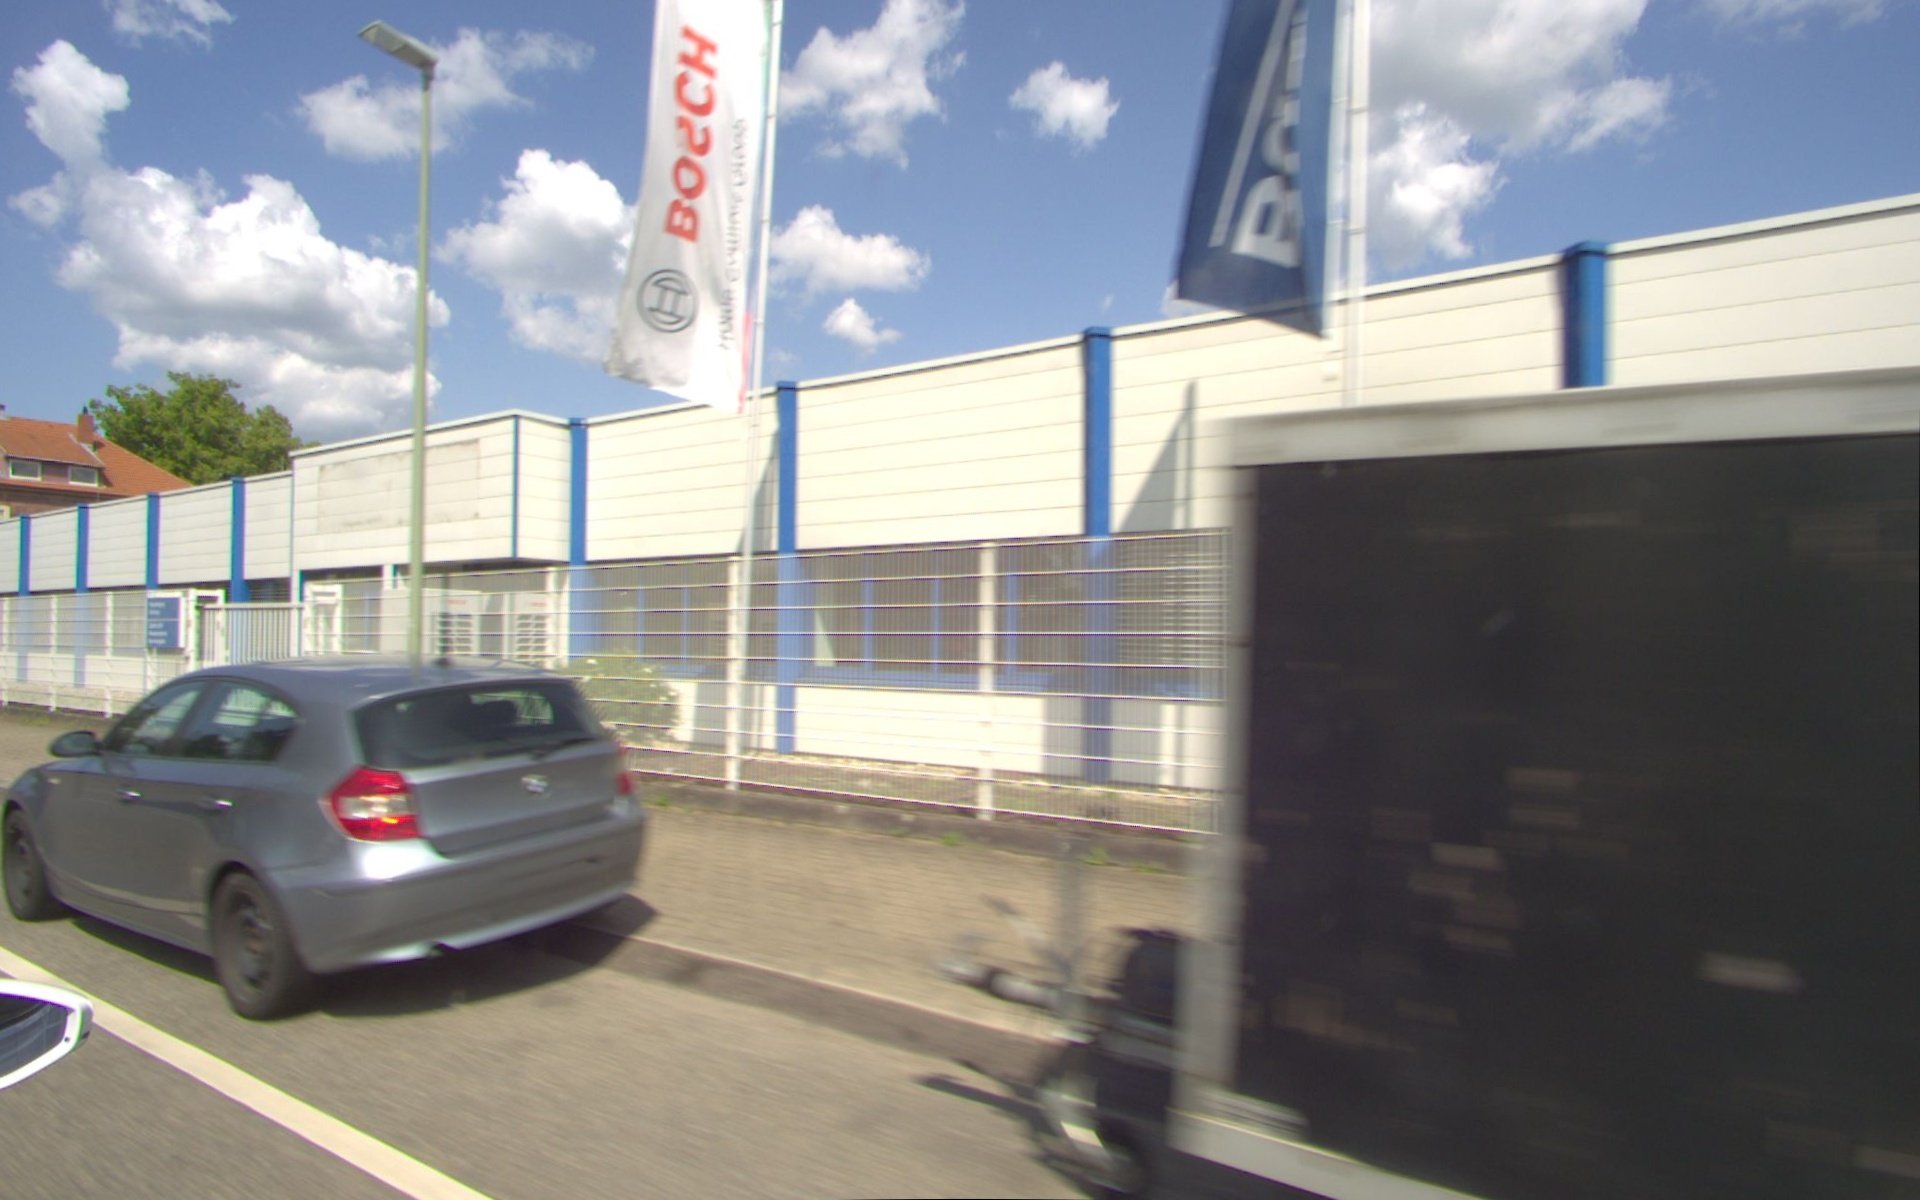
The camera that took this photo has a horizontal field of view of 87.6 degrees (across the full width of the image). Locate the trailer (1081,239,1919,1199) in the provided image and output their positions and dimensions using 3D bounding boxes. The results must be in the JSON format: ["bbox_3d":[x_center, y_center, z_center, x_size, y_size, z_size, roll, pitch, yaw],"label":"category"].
[{"bbox_3d":[1.805,0.578,1.955,2.702,2.063,1.599,-1,-3,32],"label":"trailer"}]

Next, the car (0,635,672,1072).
[{"bbox_3d":[-3.554,0.971,5.337,4.073,1.526,1.570,-1,-2,32],"label":"car"}]
